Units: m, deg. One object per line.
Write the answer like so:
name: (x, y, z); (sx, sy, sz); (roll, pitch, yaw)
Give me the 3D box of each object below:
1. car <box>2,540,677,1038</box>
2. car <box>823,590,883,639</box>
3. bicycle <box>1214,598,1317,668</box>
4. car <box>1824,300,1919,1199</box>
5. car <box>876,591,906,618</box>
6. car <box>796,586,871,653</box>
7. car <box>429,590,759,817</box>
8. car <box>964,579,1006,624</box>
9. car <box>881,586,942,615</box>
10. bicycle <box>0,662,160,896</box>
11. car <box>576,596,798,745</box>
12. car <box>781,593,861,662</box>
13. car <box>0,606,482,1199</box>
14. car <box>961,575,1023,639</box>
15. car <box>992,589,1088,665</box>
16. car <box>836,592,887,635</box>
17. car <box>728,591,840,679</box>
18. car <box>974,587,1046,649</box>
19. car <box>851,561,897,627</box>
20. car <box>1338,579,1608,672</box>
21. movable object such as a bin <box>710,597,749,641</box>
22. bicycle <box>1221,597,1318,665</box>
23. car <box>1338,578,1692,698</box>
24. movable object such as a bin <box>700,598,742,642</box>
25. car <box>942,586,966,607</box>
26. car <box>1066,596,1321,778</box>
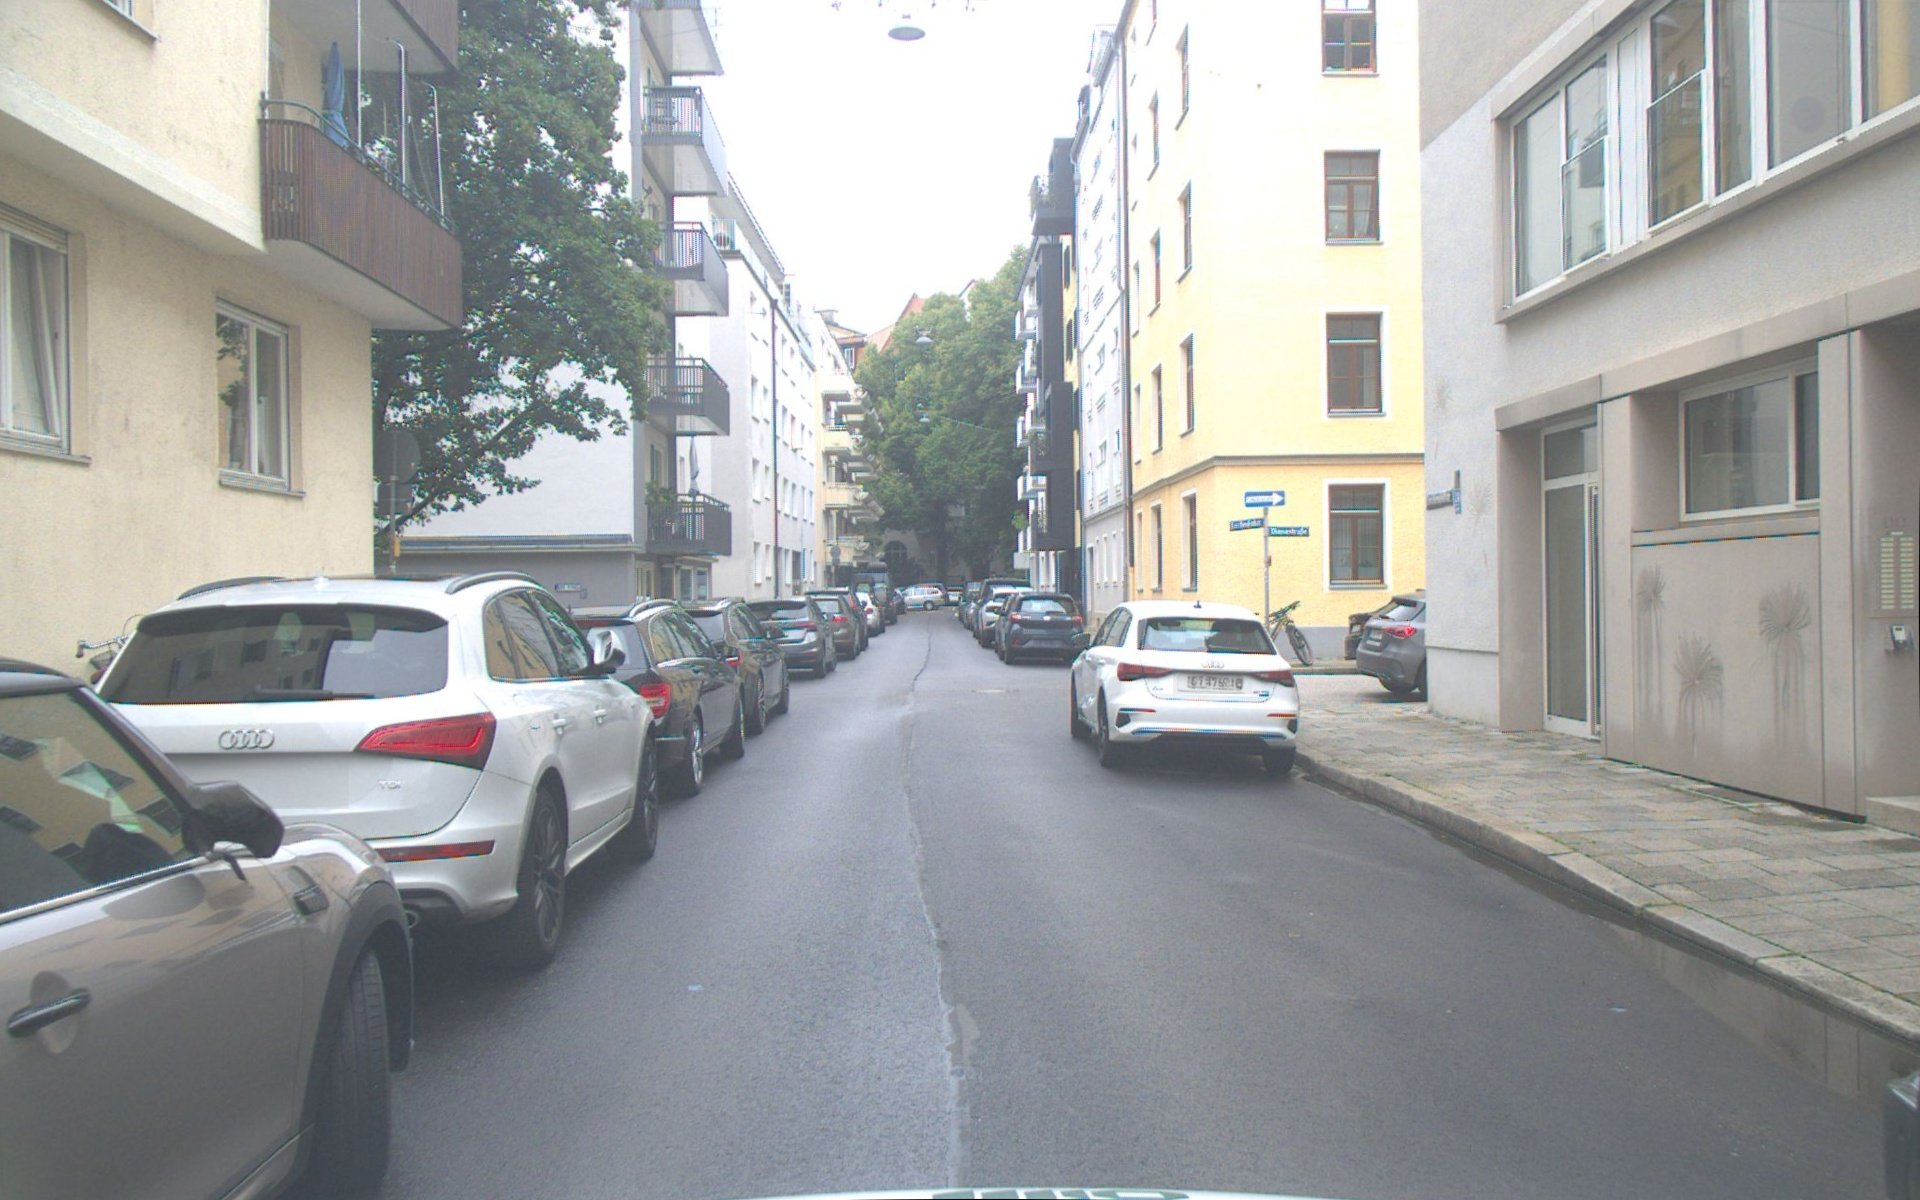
car: (-2.562, 0.669, 8.033); (1.730, 1.704, 4.365); (-2, 0, -2)
car: (-3.666, 0.477, 57.155); (1.741, 1.512, 4.518); (-3, 0, -1)
bicycle: (5.655, 0.609, 30.629); (1.772, 1.194, 0.505); (-2, 2, -4)
car: (2.621, 0.524, 0.999); (1.716, 2.010, 4.340); (2, 0, -3)
car: (-4.009, 0.233, 95.834); (1.609, 1.407, 3.481); (-3, 0, -2)
car: (-3.325, 0.487, 44.294); (1.741, 1.657, 4.413); (-2, 0, -2)
car: (-2.820, 0.705, 13.750); (1.730, 1.509, 4.424); (-2, 1, 0)
car: (1.167, 0.048, 80.094); (1.792, 2.034, 4.414); (2, 0, -2)
car: (-3.116, 0.041, 105.736); (3.808, 1.612, 1.647); (-4, 0, -3)
bicycle: (-5.452, 1.000, 9.694); (0.632, 1.182, 1.789); (-2, 0, -1)
car: (-2.985, 0.713, 18.996); (1.818, 1.433, 4.382); (-2, 0, -1)
car: (-3.184, 0.592, 38.470); (1.659, 1.467, 3.975); (-2, 0, -3)
car: (-2.177, 0.765, 2.868); (1.618, 1.461, 3.802); (-2, 0, -1)
car: (1.002, 0.199, 53.396); (1.792, 1.943, 4.414); (1, 0, -1)
car: (1.683, 0.534, 36.030); (1.715, 1.495, 4.341); (2, 0, -2)
car: (-3.688, 0.477, 62.426); (1.741, 1.478, 4.045); (-3, 0, -2)
car: (-3.195, 0.603, 30.678); (1.658, 1.467, 3.941); (-2, 0, -1)
car: (1.341, 0.455, 45.891); (1.648, 1.595, 4.414); (2, 0, -2)
car: (-3.986, -0.289, 77.232); (1.898, 2.850, 4.531); (-3, 0, -2)
car: (8.839, 0.434, 28.707); (4.128, 1.520, 1.710); (-1, -1, -3)
movable object such as a bin: (-7.597, 0.614, 54.560); (1.026, 1.360, 0.993); (-3, 0, 1)
bicycle: (5.633, 0.568, 30.129); (1.679, 1.159, 0.374); (-2, 2, -2)
car: (7.456, 0.477, 22.473); (4.121, 1.424, 1.999); (-1, 2, -5)
movable object such as a bin: (-7.725, 0.635, 53.479); (1.142, 1.360, 1.025); (-3, 0, 1)
car: (-0.427, -0.278, 122.875); (1.609, 1.407, 3.744); (-3, 0, -2)
car: (2.083, 0.723, 15.802); (1.782, 1.433, 3.951); (0, 1, -1)
